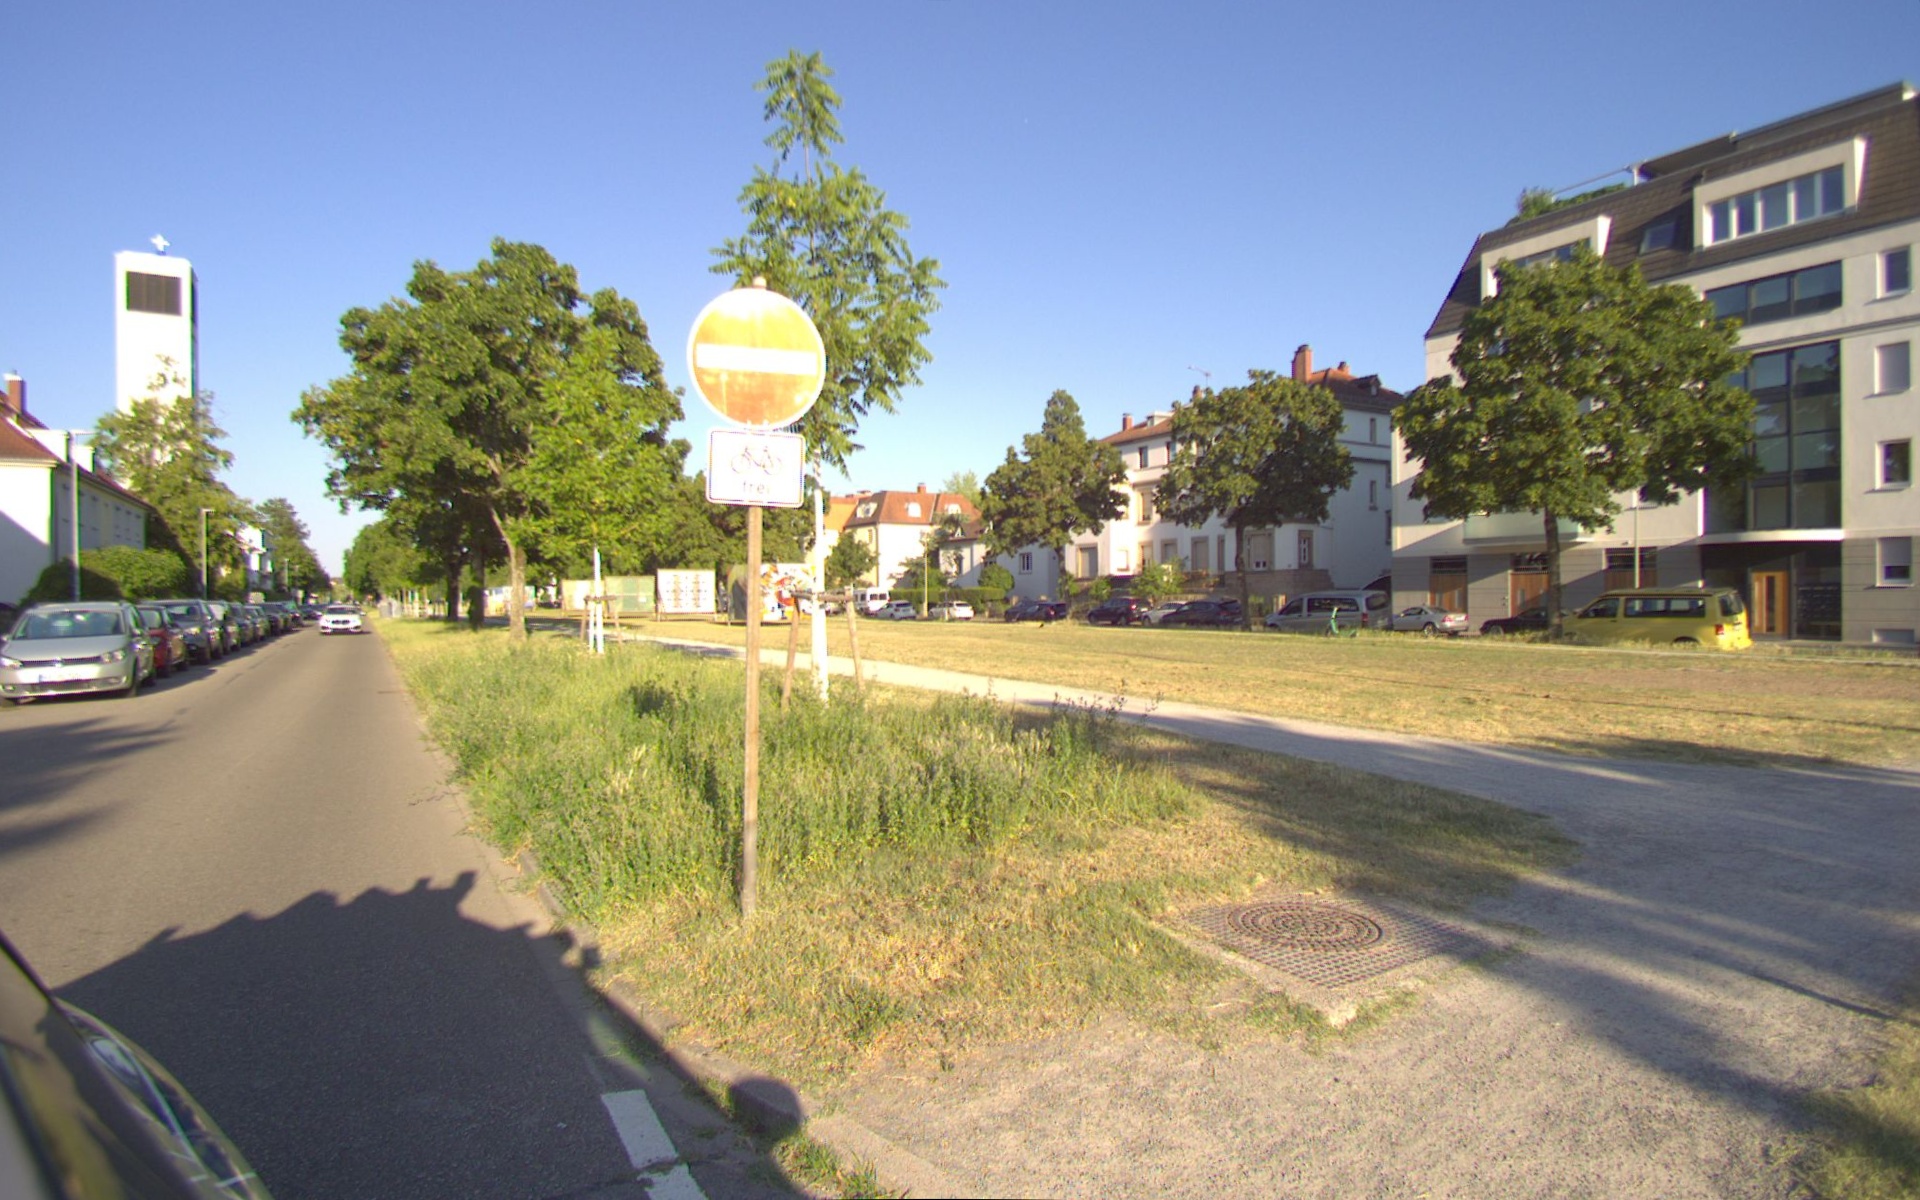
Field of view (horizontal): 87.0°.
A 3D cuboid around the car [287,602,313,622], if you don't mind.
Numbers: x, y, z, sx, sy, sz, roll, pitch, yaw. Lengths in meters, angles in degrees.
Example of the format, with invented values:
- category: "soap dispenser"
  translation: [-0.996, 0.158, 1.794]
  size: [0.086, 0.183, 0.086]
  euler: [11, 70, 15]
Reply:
- category: "car"
  translation: [-57.895, 1.030, 88.819]
  size: [1.820, 1.708, 4.011]
  euler: [-2, 1, -33]

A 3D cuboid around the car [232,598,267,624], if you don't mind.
- category: "car"
  translation: [-49.525, 0.745, 70.595]
  size: [1.820, 1.708, 4.011]
  euler: [-2, 1, -33]

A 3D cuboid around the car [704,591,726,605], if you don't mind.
- category: "car"
  translation: [-31.151, -0.283, 128.542]
  size: [1.817, 1.755, 3.907]
  euler: [0, 0, -28]

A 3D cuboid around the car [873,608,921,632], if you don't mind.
- category: "car"
  translation: [-4.487, 1.402, 71.355]
  size: [1.795, 1.592, 3.848]
  euler: [0, 0, -31]

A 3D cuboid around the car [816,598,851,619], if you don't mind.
- category: "car"
  translation: [-12.134, 0.776, 97.068]
  size: [1.965, 1.960, 4.144]
  euler: [0, 0, -28]

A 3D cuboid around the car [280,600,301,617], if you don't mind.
- category: "car"
  translation: [-72.697, 0.914, 109.878]
  size: [1.820, 1.708, 4.011]
  euler: [-2, 1, -33]

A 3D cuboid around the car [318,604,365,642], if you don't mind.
- category: "car"
  translation: [-30.565, 1.110, 49.990]
  size: [1.839, 1.708, 4.313]
  euler: [-2, 1, -33]

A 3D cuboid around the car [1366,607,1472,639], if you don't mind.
- category: "car"
  translation: [19.073, 0.950, 42.166]
  size: [1.599, 1.250, 3.740]
  euler: [1, -1, -35]

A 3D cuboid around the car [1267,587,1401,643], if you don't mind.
- category: "car"
  translation: [14.463, 0.558, 39.392]
  size: [2.044, 2.029, 4.589]
  euler: [0, 0, -32]

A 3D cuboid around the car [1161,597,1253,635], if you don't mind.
- category: "car"
  translation: [10.849, 0.688, 44.687]
  size: [1.795, 1.592, 3.848]
  euler: [0, 0, -31]

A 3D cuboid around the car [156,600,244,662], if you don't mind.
- category: "car"
  translation: [-23.364, 0.907, 31.231]
  size: [1.820, 1.708, 4.011]
  euler: [-2, 1, -33]

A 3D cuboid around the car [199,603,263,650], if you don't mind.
- category: "car"
  translation: [-29.280, 1.025, 40.729]
  size: [1.820, 1.708, 4.011]
  euler: [-2, 1, -33]

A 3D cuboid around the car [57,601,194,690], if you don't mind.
- category: "car"
  translation: [-18.281, 0.909, 22.357]
  size: [1.820, 1.708, 4.011]
  euler: [-2, 1, -33]

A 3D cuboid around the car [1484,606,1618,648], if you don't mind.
- category: "car"
  translation: [22.016, 0.963, 37.854]
  size: [1.649, 1.474, 4.012]
  euler: [0, 0, -30]

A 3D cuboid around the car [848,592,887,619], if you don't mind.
- category: "car"
  translation: [-8.047, 0.454, 87.865]
  size: [1.965, 2.230, 4.144]
  euler: [0, 0, -28]

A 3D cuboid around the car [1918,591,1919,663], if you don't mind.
- category: "car"
  translation: [24.497, 0.619, 22.137]
  size: [1.758, 1.681, 4.854]
  euler: [0, 0, -30]

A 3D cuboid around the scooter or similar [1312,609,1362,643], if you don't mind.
- category: "scooter or similar"
  translation: [12.521, 0.850, 33.673]
  size: [0.445, 1.124, 1.653]
  euler: [0, 0, -30]

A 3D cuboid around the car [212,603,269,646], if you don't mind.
- category: "car"
  translation: [-31.858, 1.044, 44.877]
  size: [1.820, 1.708, 4.011]
  euler: [-2, 1, -33]

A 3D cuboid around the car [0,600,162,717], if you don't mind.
- category: "car"
  translation: [-15.113, 0.897, 17.351]
  size: [1.820, 1.708, 4.011]
  euler: [-2, 1, -33]

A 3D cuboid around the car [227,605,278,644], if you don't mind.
- category: "car"
  translation: [-34.089, 1.132, 48.865]
  size: [1.820, 1.708, 4.011]
  euler: [-2, 1, -33]

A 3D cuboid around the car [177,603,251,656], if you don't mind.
- category: "car"
  translation: [-26.418, 0.990, 35.964]
  size: [1.820, 1.708, 4.011]
  euler: [-2, 1, -33]

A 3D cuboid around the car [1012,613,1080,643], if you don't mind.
- category: "car"
  translation: [4.704, 1.512, 55.864]
  size: [1.795, 1.592, 3.848]
  euler: [0, 0, -31]

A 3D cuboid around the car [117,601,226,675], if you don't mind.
- category: "car"
  translation: [-20.319, 0.915, 26.238]
  size: [1.820, 1.708, 4.011]
  euler: [-2, 1, -33]

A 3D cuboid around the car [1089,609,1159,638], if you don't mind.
- category: "car"
  translation: [9.513, 1.323, 59.016]
  size: [1.795, 1.592, 4.175]
  euler: [0, 0, -31]

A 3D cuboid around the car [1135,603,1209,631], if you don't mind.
- category: "car"
  translation: [11.537, 0.895, 55.247]
  size: [1.614, 1.457, 4.020]
  euler: [1, -1, -31]

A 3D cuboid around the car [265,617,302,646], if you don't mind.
- category: "car"
  translation: [-42.296, 1.960, 63.305]
  size: [1.776, 1.730, 3.355]
  euler: [1, 0, -31]

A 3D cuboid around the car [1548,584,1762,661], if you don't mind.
- category: "car"
  translation: [20.046, 0.613, 29.421]
  size: [1.998, 2.029, 4.708]
  euler: [0, 0, -32]

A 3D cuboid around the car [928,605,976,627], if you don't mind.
- category: "car"
  translation: [-0.620, 1.196, 75.921]
  size: [1.795, 1.592, 3.979]
  euler: [0, 0, -31]
